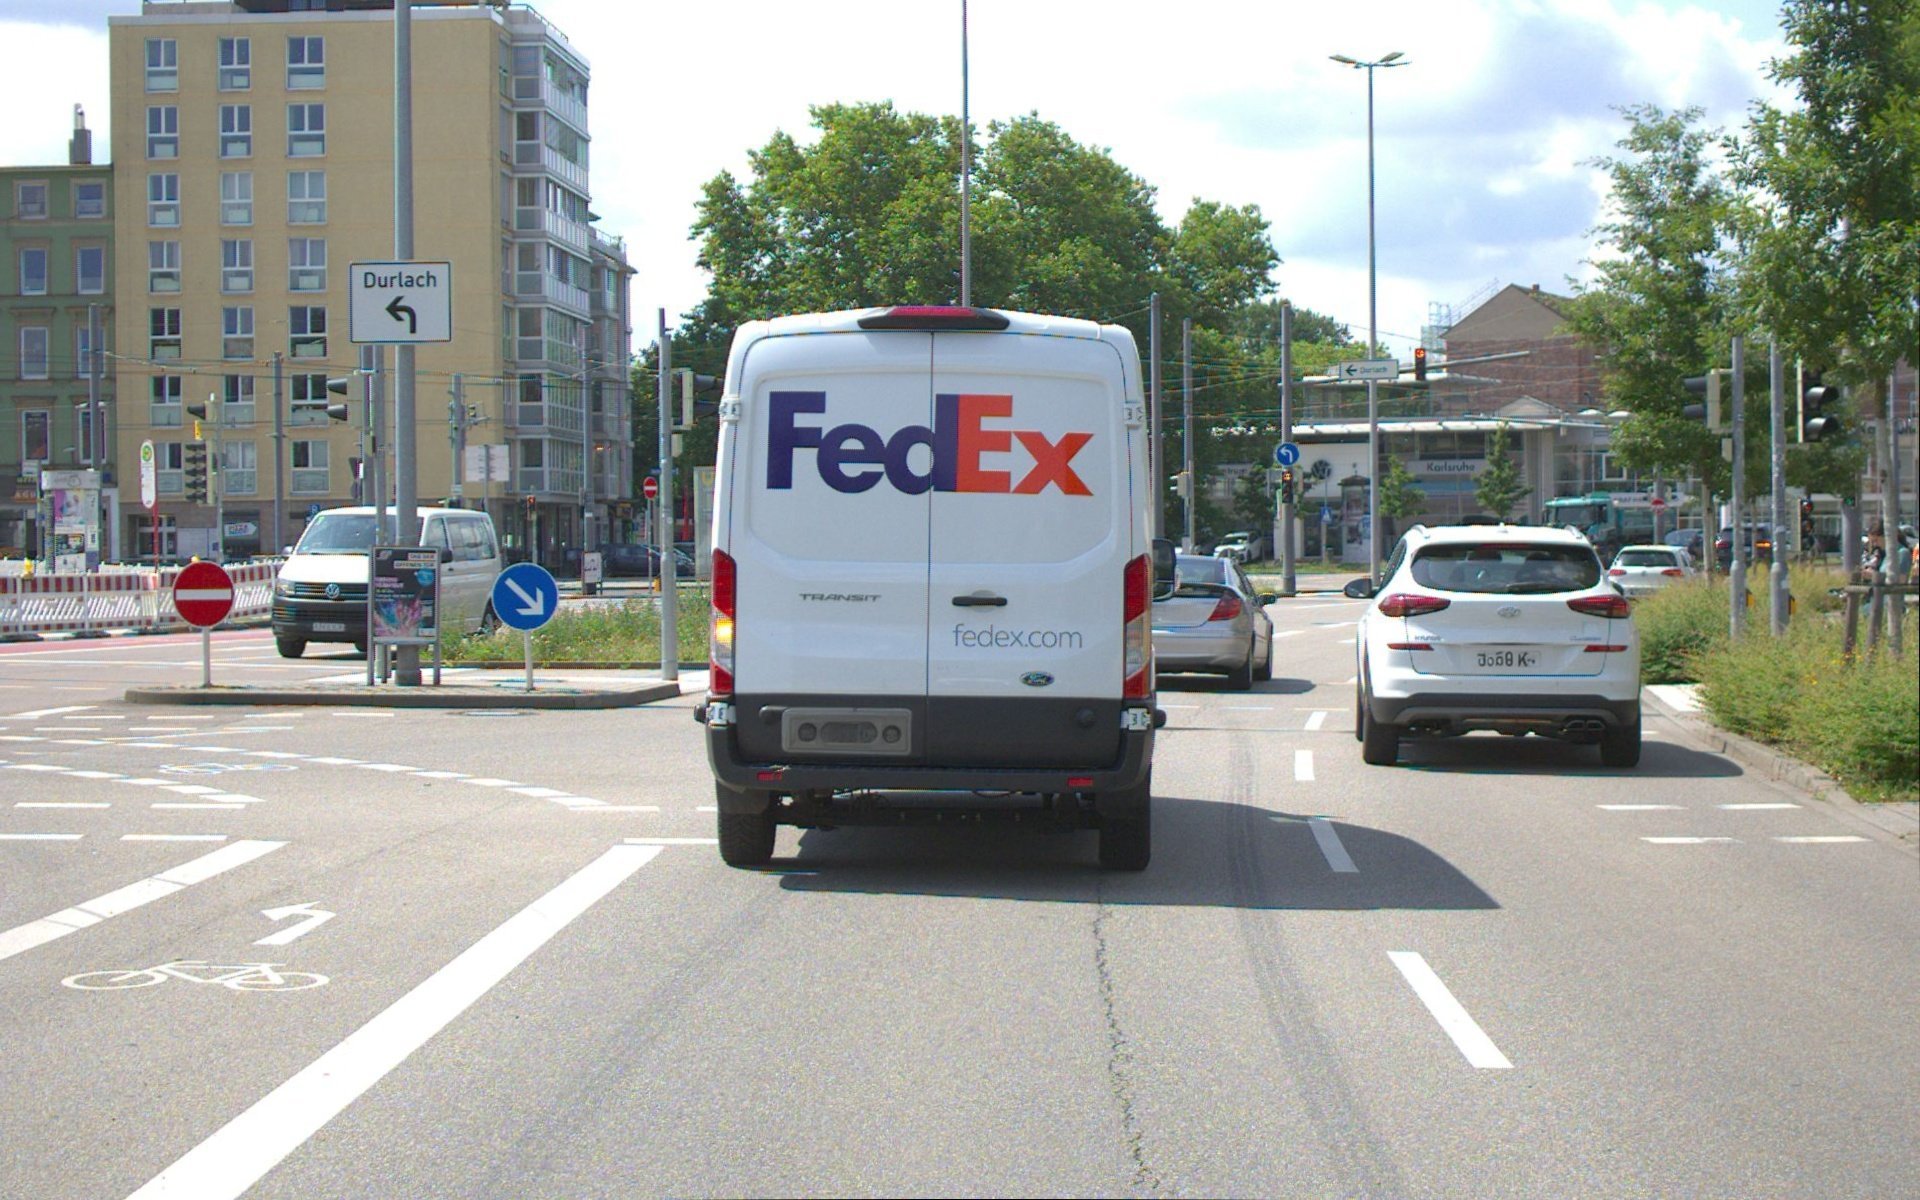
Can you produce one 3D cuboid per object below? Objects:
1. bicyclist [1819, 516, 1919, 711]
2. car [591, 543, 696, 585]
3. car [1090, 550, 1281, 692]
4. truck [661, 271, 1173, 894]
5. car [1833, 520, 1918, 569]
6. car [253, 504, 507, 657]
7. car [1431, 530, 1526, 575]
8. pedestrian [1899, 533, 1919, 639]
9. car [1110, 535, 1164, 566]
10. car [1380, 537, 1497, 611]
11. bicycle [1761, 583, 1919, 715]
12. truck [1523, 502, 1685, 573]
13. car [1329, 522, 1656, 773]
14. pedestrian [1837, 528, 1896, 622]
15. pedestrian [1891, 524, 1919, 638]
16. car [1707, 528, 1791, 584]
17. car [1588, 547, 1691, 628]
[{"bbox_3d":[7.763,0.111,28.991,0.828,1.596,0.579,-3,0,2],"label":"bicyclist"},{"bbox_3d":[-13.190,-1.511,143.566,4.104,1.659,1.869,1,0,4],"label":"car"},{"bbox_3d":[2.454,0.184,36.547,1.742,1.387,4.178,0,1,8],"label":"car"},{"bbox_3d":[-0.008,-0.113,17.638,2.137,2.631,5.917,1,1,4],"label":"truck"},{"bbox_3d":[31.733,-1.936,119.124,1.884,1.635,3.950,0,1,30],"label":"car"},{"bbox_3d":[-7.501,-0.297,44.986,1.882,1.888,4.868,0,1,8],"label":"car"},{"bbox_3d":[21.571,-1.976,142.881,1.722,1.794,4.730,-1,1,39],"label":"car"},{"bbox_3d":[14.953,-0.226,53.288,0.651,1.620,0.774,-3,-1,18],"label":"pedestrian"},{"bbox_3d":[9.642,-2.684,186.571,1.995,1.568,4.175,1,0,16],"label":"car"},{"bbox_3d":[11.056,-0.620,79.140,1.930,1.635,4.788,0,1,17],"label":"car"},{"bbox_3d":[7.749,0.396,28.990,1.809,1.046,0.592,-3,0,2],"label":"bicycle"},{"bbox_3d":[26.502,-2.577,141.071,2.892,2.842,8.773,0,1,37],"label":"truck"},{"bbox_3d":[3.698,0.266,24.542,1.881,1.635,4.232,0,1,3],"label":"car"},{"bbox_3d":[15.455,-0.421,58.618,0.756,1.584,0.761,1,0,-3],"label":"pedestrian"},{"bbox_3d":[13.759,-0.266,49.385,0.587,1.620,0.727,1,0,3],"label":"pedestrian"},{"bbox_3d":[23.564,-1.323,102.592,1.883,1.635,3.953,0,1,22],"label":"car"},{"bbox_3d":[14.412,-0.280,72.829,1.882,1.635,3.954,0,1,15],"label":"car"}]
